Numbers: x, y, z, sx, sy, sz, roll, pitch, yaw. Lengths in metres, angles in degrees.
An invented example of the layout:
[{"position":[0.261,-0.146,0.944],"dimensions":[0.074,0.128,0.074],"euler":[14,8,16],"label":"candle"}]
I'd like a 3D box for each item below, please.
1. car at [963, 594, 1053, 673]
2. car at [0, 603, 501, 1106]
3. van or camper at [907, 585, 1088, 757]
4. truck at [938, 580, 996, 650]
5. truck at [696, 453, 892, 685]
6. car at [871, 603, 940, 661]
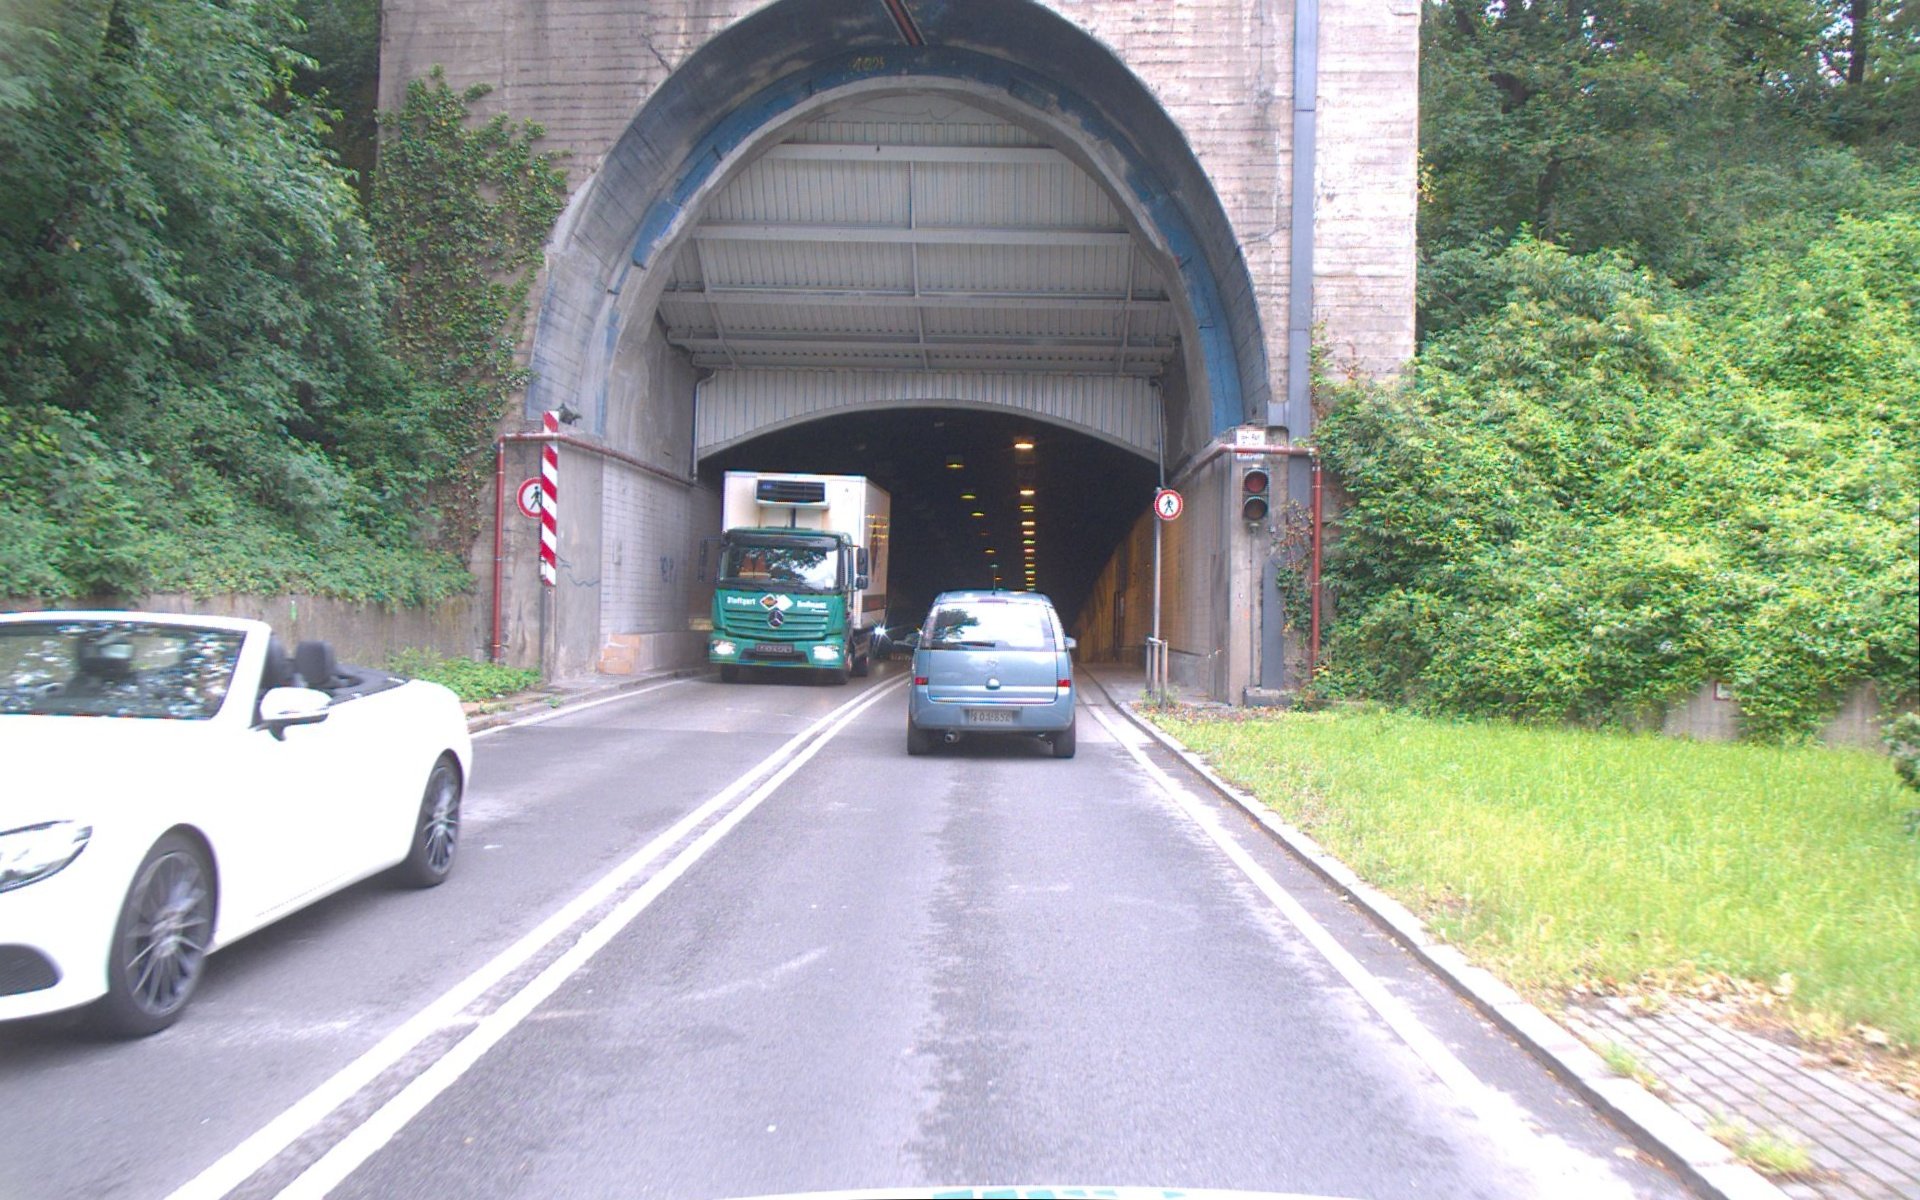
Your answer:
[{"position":[1.171,0.735,38.649],"dimensions":[1.952,1.682,4.002],"euler":[0,1,4],"label":"car"},{"position":[-3.497,0.727,6.931],"dimensions":[1.829,1.395,4.456],"euler":[1,0,1],"label":"car"},{"position":[0.396,0.675,17.328],"dimensions":[1.699,1.605,3.646],"euler":[0,0,1],"label":"van or camper"},{"position":[0.492,0.988,99.092],"dimensions":[2.754,3.782,7.548],"euler":[1,-3,5],"label":"truck"},{"position":[-2.863,-0.496,30.788],"dimensions":[2.620,3.731,7.519],"euler":[1,0,1],"label":"truck"},{"position":[-1.664,0.992,52.102],"dimensions":[1.840,1.705,4.378],"euler":[1,-1,2],"label":"car"}]
